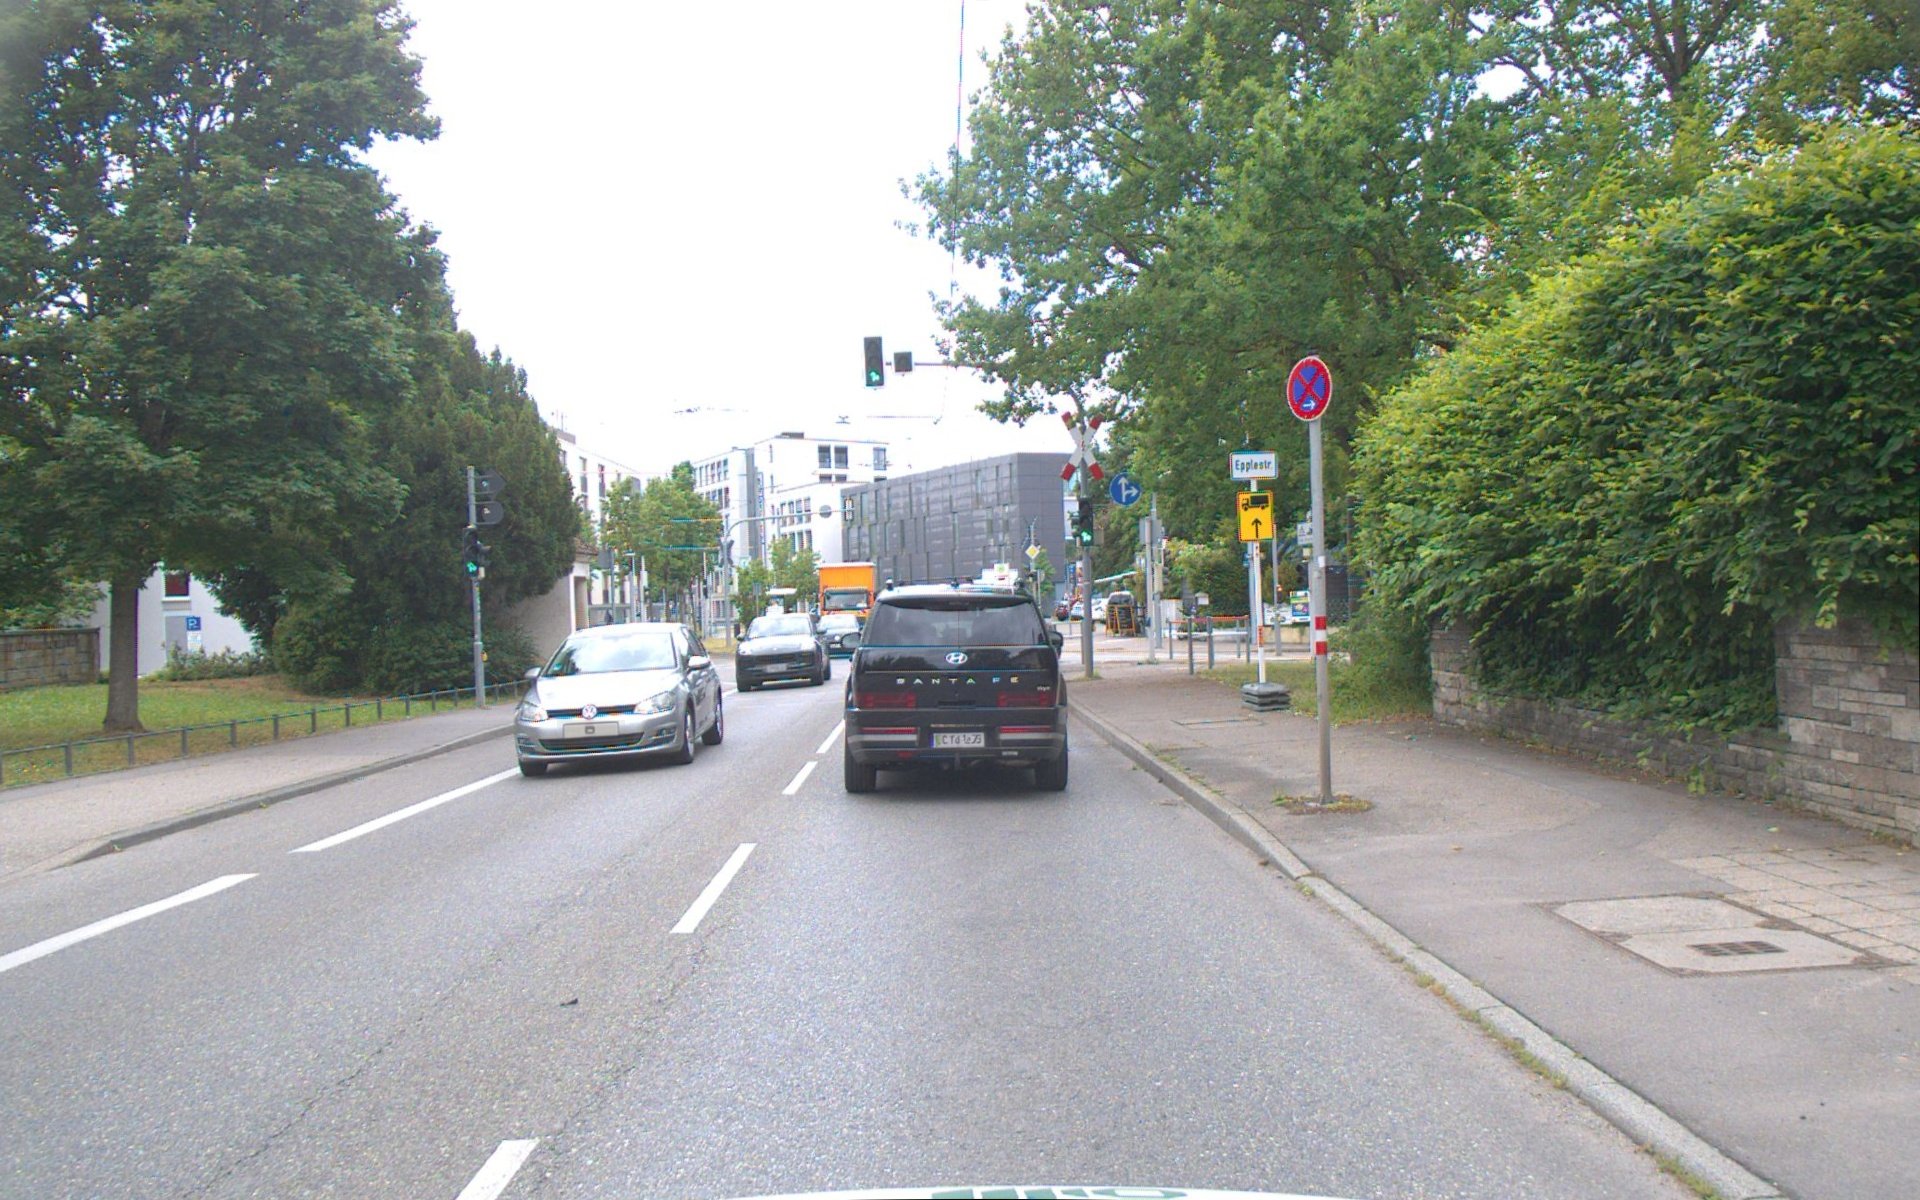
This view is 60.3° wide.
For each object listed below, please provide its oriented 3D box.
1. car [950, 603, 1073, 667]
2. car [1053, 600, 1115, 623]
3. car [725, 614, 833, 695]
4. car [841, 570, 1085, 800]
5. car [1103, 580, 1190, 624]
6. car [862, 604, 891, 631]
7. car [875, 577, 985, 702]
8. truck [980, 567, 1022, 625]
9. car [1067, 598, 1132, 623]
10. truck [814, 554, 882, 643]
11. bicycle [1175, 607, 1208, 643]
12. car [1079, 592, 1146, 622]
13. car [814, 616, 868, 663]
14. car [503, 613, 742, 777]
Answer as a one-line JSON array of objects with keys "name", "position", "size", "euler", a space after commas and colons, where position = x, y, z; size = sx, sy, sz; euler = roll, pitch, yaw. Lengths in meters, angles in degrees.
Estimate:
[{"name": "car", "position": [1.369, 0.840, 41.380], "size": [1.951, 1.489, 4.522], "euler": [-1, -1, 17]}, {"name": "car", "position": [8.136, 0.754, 108.555], "size": [3.745, 1.499, 1.783], "euler": [0, -1, -26]}, {"name": "car", "position": [-4.040, 1.188, 37.573], "size": [1.900, 1.558, 4.525], "euler": [-4, 0, -1]}, {"name": "car", "position": [-0.088, 0.655, 14.867], "size": [1.877, 1.755, 4.167], "euler": [-1, 0, -3]}, {"name": "car", "position": [8.504, 0.088, 75.139], "size": [1.814, 1.779, 4.678], "euler": [-2, 0, 36]}, {"name": "car", "position": [-5.686, 1.197, 113.252], "size": [1.752, 1.690, 4.275], "euler": [-3, 0, -1]}, {"name": "car", "position": [-0.566, 0.665, 30.734], "size": [1.818, 2.069, 4.436], "euler": [-2, 0, -2]}, {"name": "truck", "position": [2.641, -0.255, 109.298], "size": [2.520, 3.586, 7.810], "euler": [-2, 0, 1]}, {"name": "car", "position": [8.731, 0.677, 103.168], "size": [3.753, 1.499, 1.779], "euler": [0, -2, -31]}, {"name": "truck", "position": [-5.214, -0.023, 78.213], "size": [2.714, 3.783, 8.464], "euler": [-5, 0, -2]}, {"name": "bicycle", "position": [8.261, 0.875, 59.121], "size": [0.538, 1.158, 1.872], "euler": [-2, 3, -13]}, {"name": "car", "position": [8.979, 0.413, 97.199], "size": [3.598, 1.460, 1.577], "euler": [-4, -1, -28]}, {"name": "car", "position": [-4.049, 1.331, 56.880], "size": [1.630, 1.474, 3.826], "euler": [-2, 0, -2]}, {"name": "car", "position": [-3.562, 0.941, 18.172], "size": [1.690, 1.488, 4.154], "euler": [-3, 0, 0]}]
